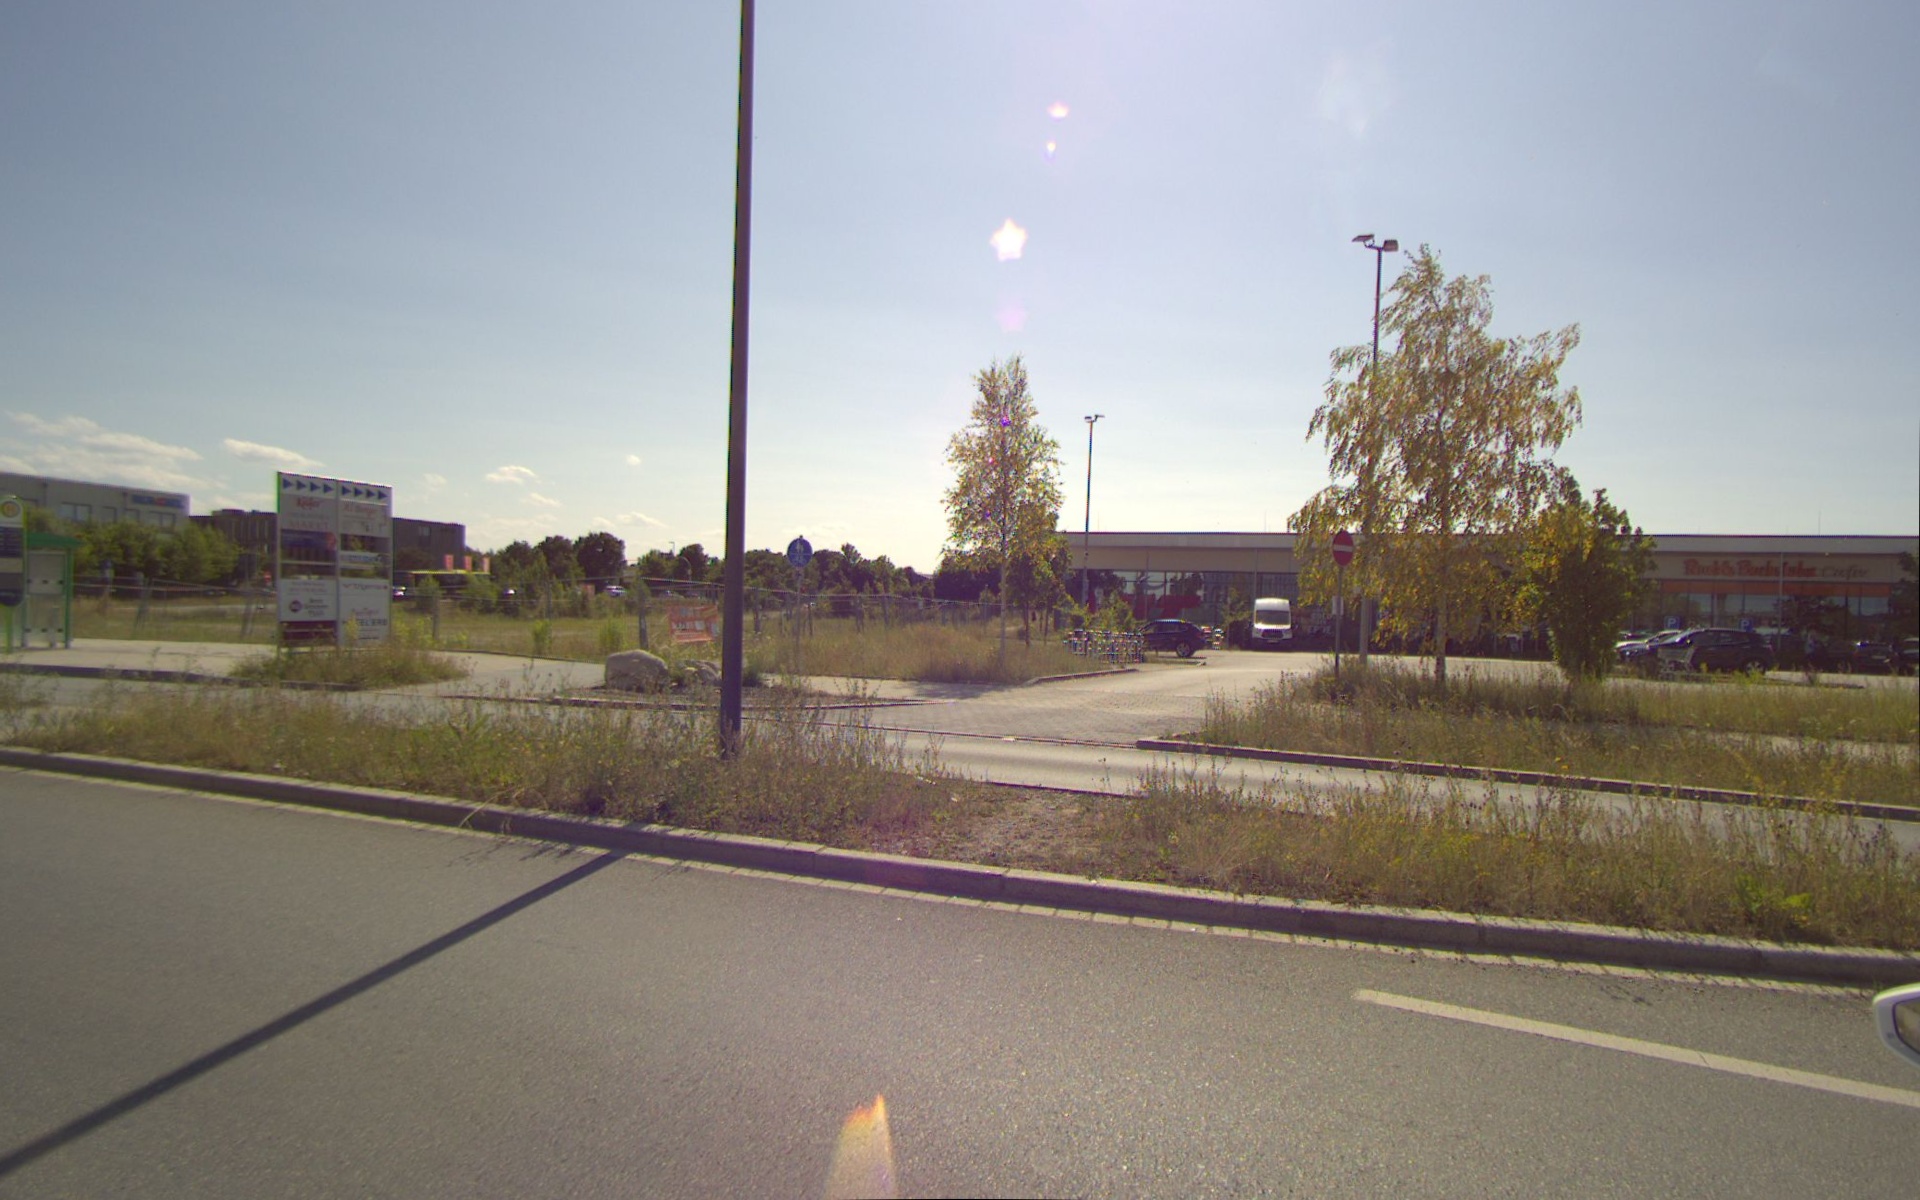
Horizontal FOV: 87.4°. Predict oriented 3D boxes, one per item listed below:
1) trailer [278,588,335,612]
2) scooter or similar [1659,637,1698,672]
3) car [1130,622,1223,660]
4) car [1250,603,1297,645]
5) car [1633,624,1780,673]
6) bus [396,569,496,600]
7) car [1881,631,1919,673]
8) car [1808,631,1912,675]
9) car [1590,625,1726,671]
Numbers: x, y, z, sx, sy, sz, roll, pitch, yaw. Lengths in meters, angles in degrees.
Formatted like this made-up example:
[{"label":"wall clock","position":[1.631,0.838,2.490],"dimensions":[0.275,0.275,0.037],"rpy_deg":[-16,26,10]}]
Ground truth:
[{"label":"trailer","position":[-55.384,0.037,85.212],"dimensions":[1.791,1.884,4.003],"rpy_deg":[2,-1,10]},{"label":"scooter or similar","position":[24.151,1.824,33.778],"dimensions":[0.928,1.094,0.652],"rpy_deg":[1,0,25]},{"label":"car","position":[9.364,1.750,43.408],"dimensions":[3.768,1.442,1.773],"rpy_deg":[2,-1,17]},{"label":"car","position":[16.493,1.257,53.163],"dimensions":[2.185,2.003,6.699],"rpy_deg":[1,-1,16]},{"label":"car","position":[25.838,1.651,34.920],"dimensions":[3.731,1.528,1.732],"rpy_deg":[1,-1,21]},{"label":"bus","position":[-52.241,-1.530,102.571],"dimensions":[2.528,2.771,11.576],"rpy_deg":[2,0,10]},{"label":"car","position":[42.006,2.276,43.457],"dimensions":[1.962,1.730,3.998],"rpy_deg":[1,0,23]},{"label":"car","position":[39.446,2.291,44.149],"dimensions":[1.960,1.730,4.000],"rpy_deg":[1,0,19]},{"label":"car","position":[29.671,2.014,42.859],"dimensions":[4.400,1.728,1.873],"rpy_deg":[2,-1,24]}]
